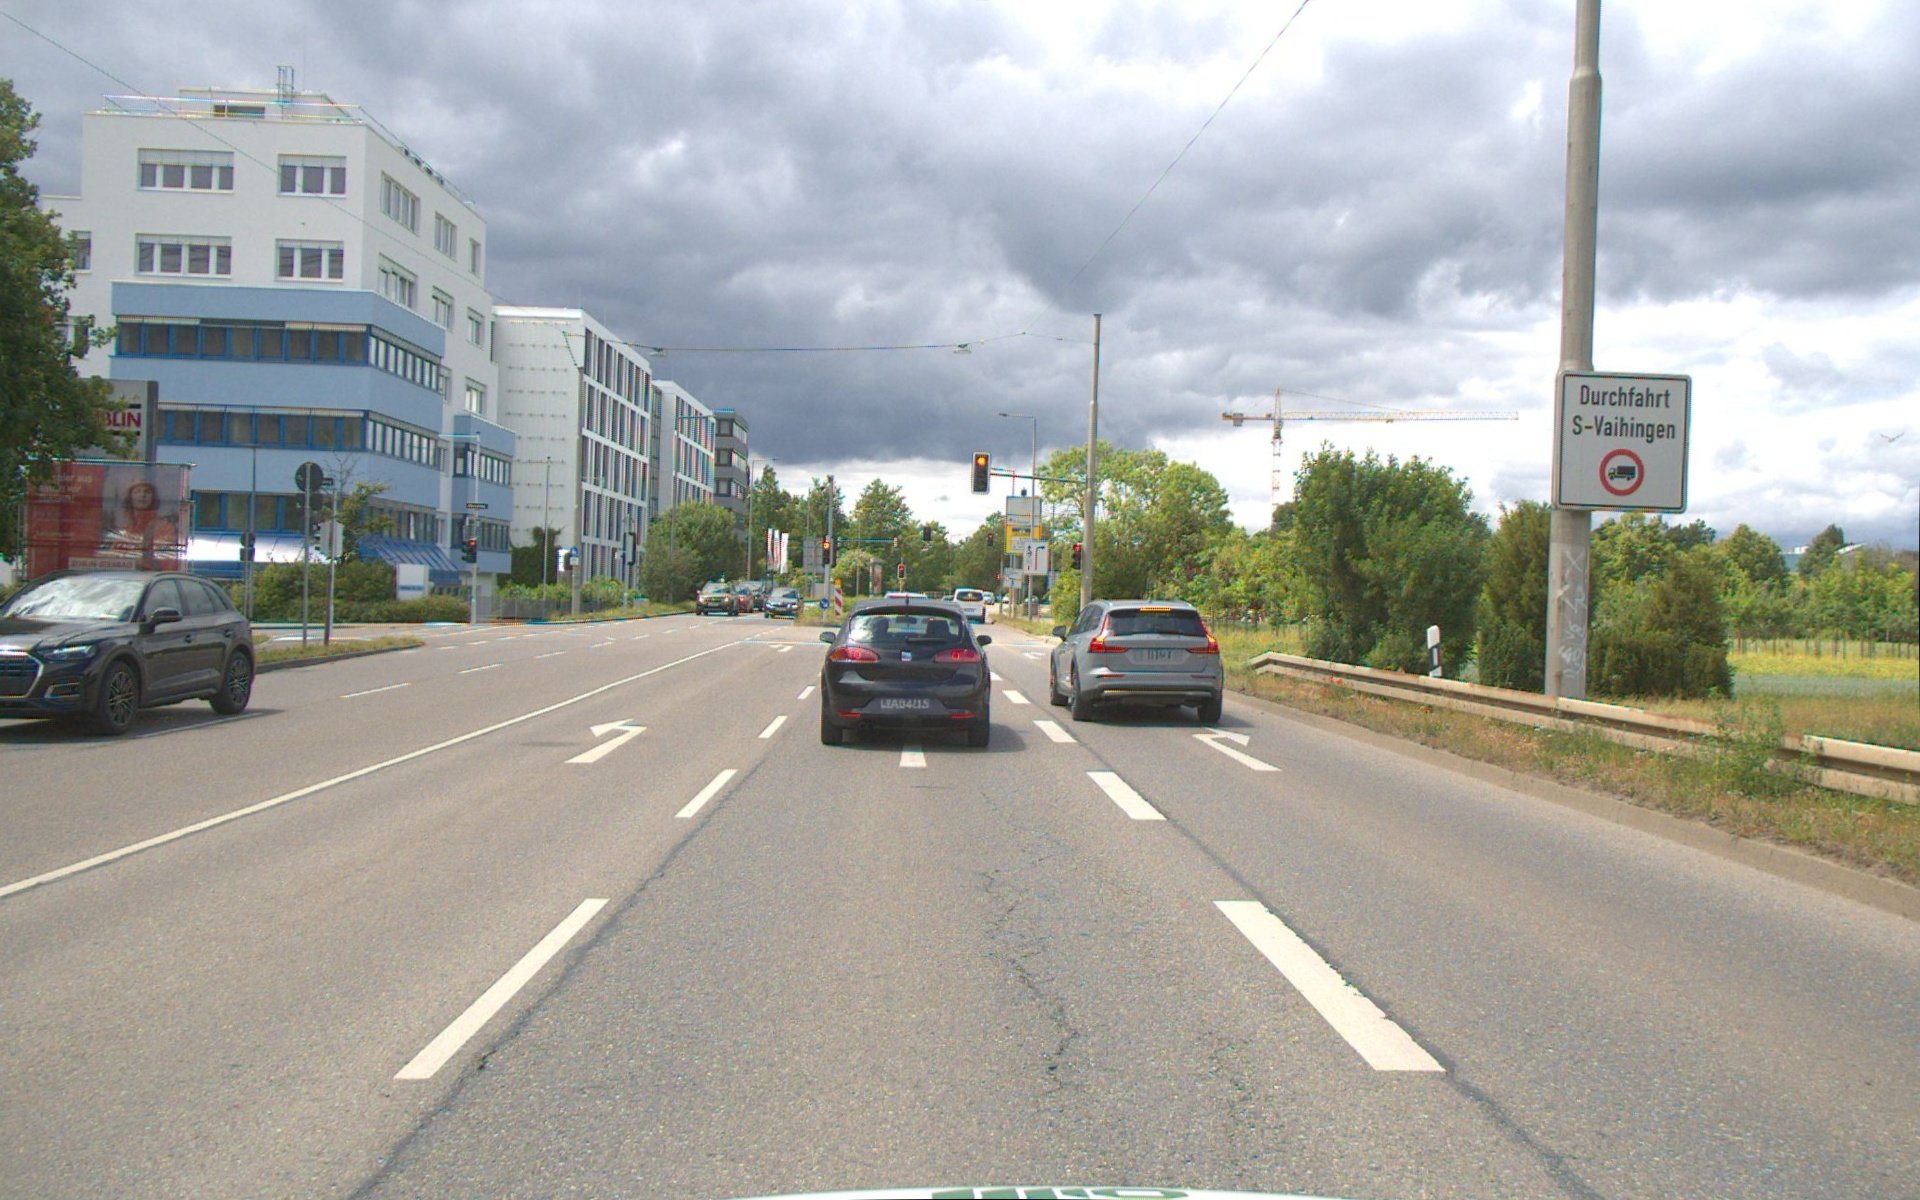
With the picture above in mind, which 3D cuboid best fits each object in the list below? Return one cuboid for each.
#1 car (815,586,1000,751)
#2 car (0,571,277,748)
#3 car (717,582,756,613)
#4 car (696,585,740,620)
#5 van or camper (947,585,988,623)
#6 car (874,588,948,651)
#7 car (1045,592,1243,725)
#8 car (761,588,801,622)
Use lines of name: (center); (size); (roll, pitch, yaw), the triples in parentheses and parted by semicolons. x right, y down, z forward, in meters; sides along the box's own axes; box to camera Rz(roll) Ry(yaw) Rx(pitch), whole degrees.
car: (-0.461, 0.657, 17.609); (1.712, 1.510, 4.000); (1, 0, 1)
car: (-9.203, 0.560, 17.766); (1.829, 1.643, 4.571); (1, 0, -1)
car: (-12.375, -0.174, 91.590); (1.740, 1.640, 3.998); (1, 0, -2)
car: (-11.823, 0.100, 81.028); (1.716, 1.659, 3.998); (0, 0, -2)
van or camper: (0.407, 0.246, 92.863); (1.862, 1.959, 3.995); (2, -1, -6)
car: (-1.439, 0.514, 47.060); (1.944, 1.618, 4.224); (2, 1, -3)
car: (2.273, 0.701, 21.585); (1.919, 1.552, 4.337); (0, 0, -3)
car: (-8.645, 0.217, 80.049); (1.635, 1.551, 4.006); (-1, 1, -2)
